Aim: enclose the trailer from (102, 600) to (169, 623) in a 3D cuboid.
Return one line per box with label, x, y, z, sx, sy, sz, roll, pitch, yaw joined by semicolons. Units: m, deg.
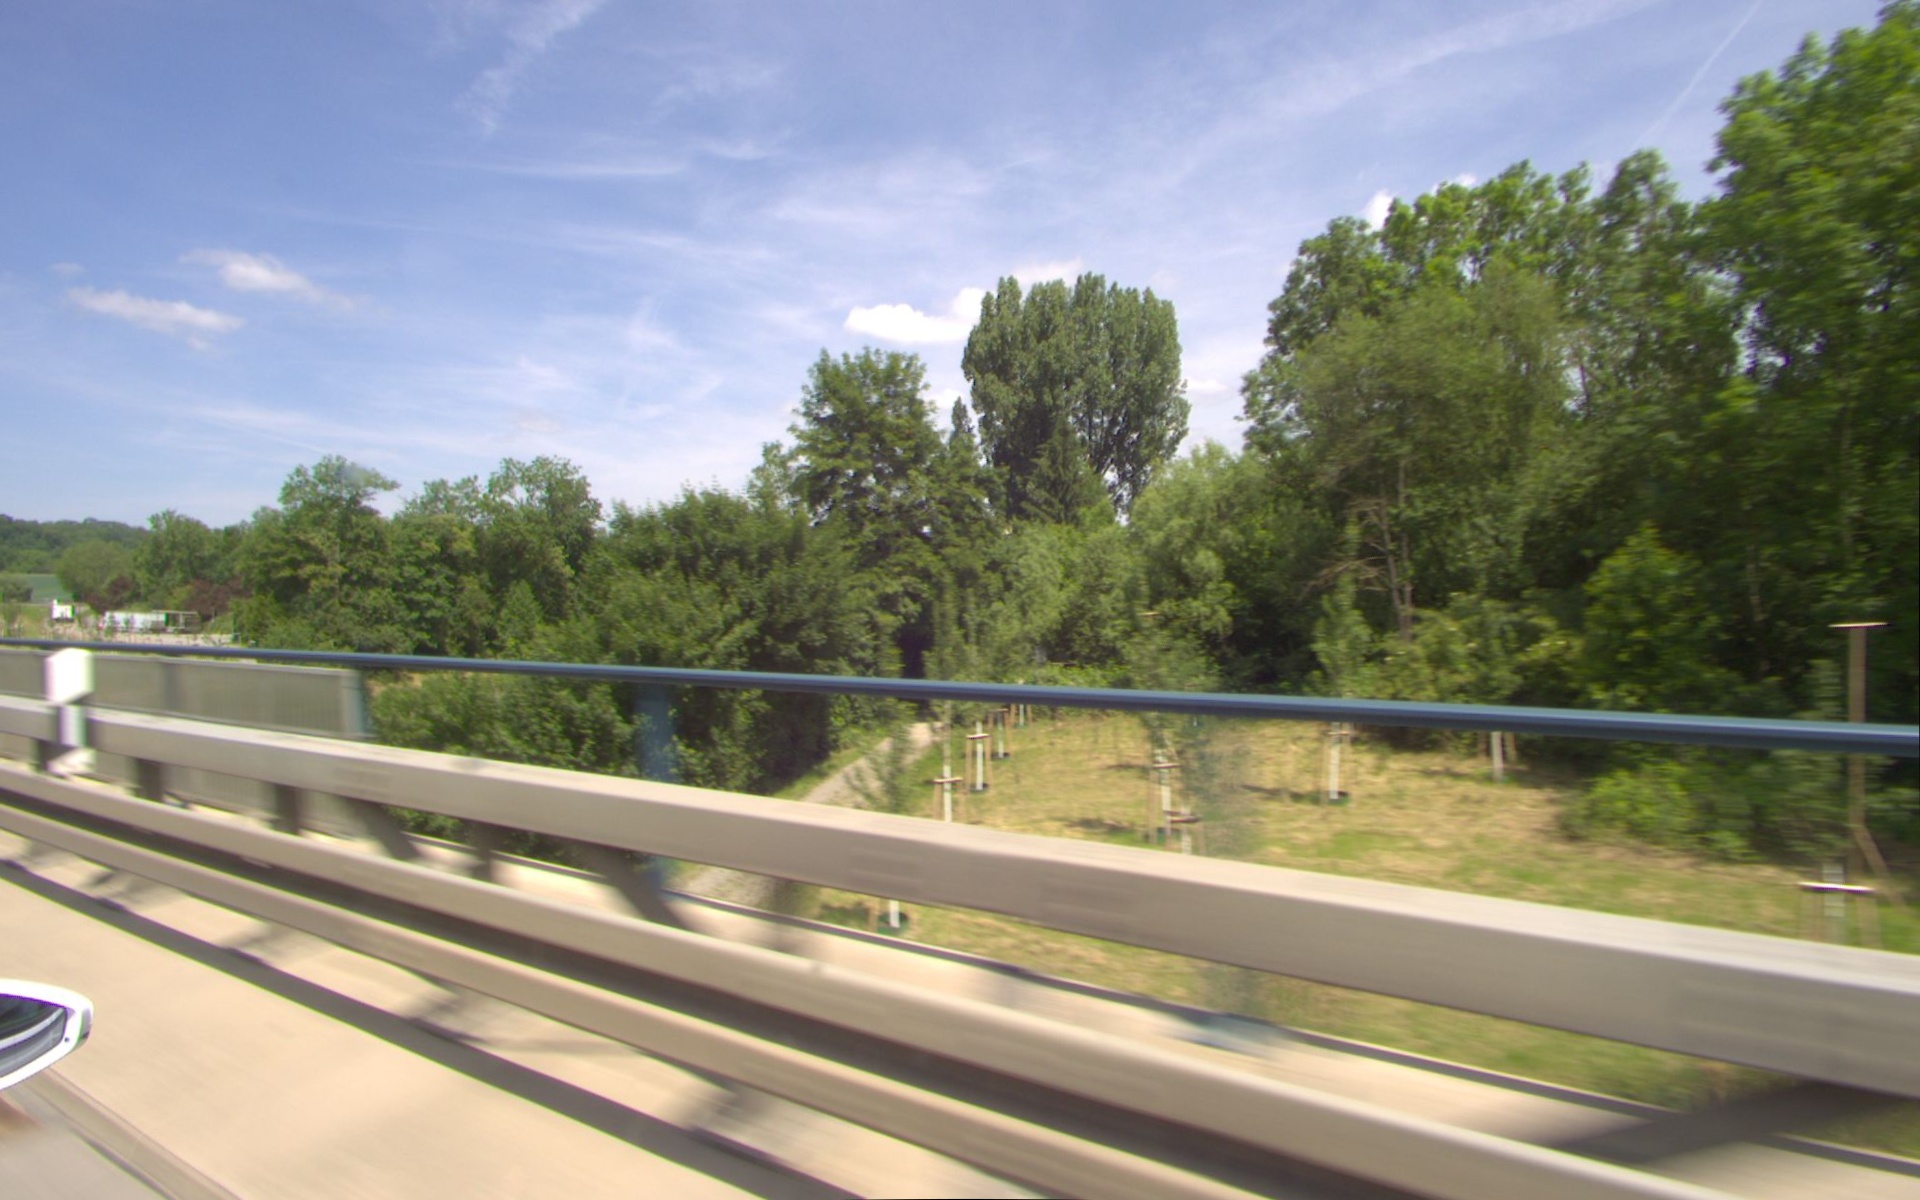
trailer;-133.465;1.807;162.140;11.683;3.372;2.722;1;0;20
